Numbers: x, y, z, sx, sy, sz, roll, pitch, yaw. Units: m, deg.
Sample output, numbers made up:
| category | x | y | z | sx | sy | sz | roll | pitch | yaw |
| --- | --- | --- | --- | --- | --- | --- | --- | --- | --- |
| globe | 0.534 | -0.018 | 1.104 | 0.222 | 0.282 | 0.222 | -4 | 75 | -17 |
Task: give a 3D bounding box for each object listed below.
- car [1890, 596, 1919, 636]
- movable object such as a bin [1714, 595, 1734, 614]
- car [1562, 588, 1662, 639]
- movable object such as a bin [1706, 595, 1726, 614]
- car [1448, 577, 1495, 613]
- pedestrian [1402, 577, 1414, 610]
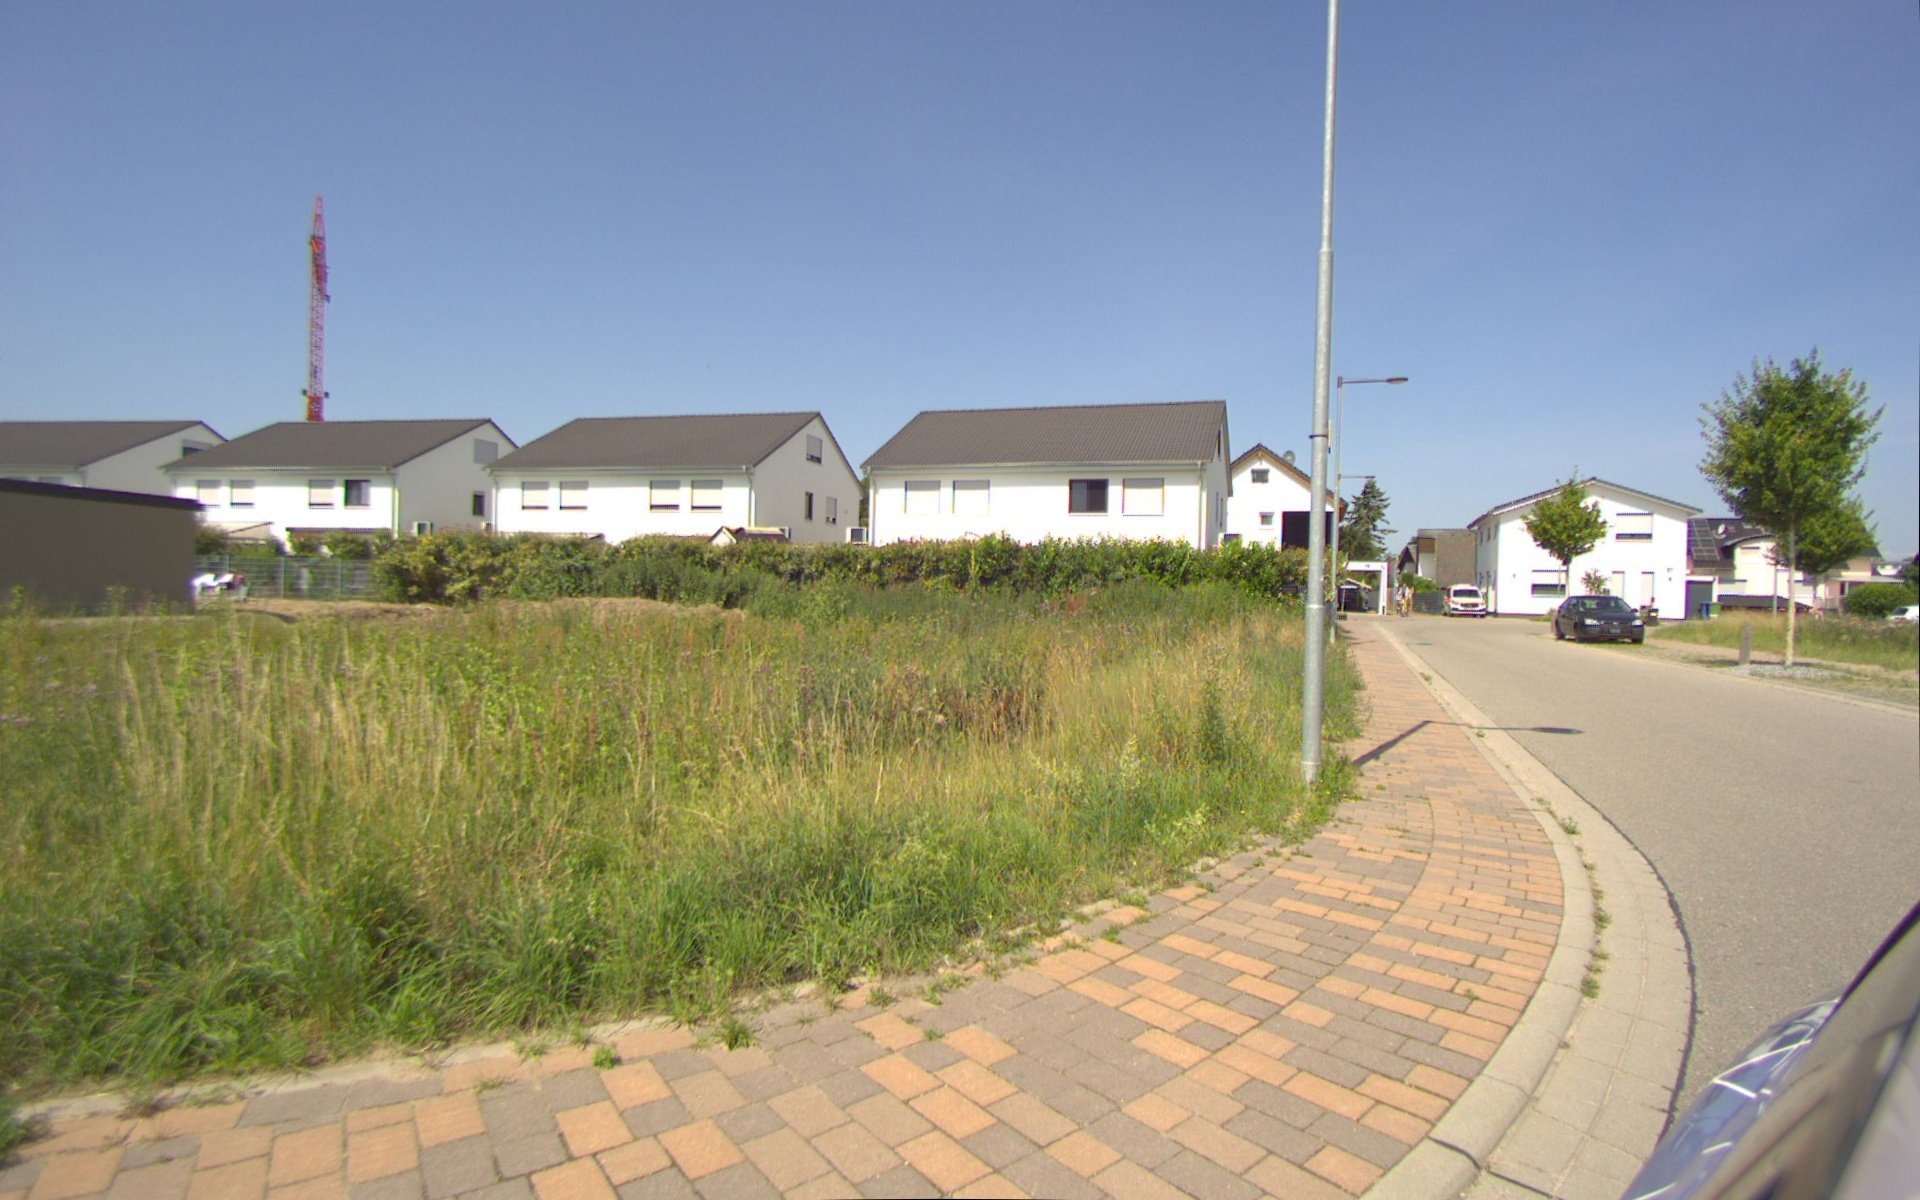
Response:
| category | x | y | z | sx | sy | sz | roll | pitch | yaw |
| --- | --- | --- | --- | --- | --- | --- | --- | --- | --- |
| car | 39.514 | 0.686 | 39.766 | 3.961 | 1.521 | 1.793 | 2 | 1 | 27 |
| movable object such as a bin | 41.752 | 0.248 | 55.288 | 0.678 | 1.017 | 0.735 | 2 | 1 | 24 |
| car | 20.328 | 0.381 | 31.732 | 1.796 | 1.472 | 4.115 | 0 | 0 | 21 |
| movable object such as a bin | 41.914 | 0.229 | 56.104 | 0.678 | 1.017 | 0.735 | 2 | 1 | 24 |
| car | 28.597 | -0.279 | 56.688 | 1.834 | 1.909 | 4.527 | 0 | 0 | 21 |
| pedestrian | 24.133 | -0.332 | 54.467 | 0.545 | 1.741 | 0.812 | 2 | 1 | 25 |
